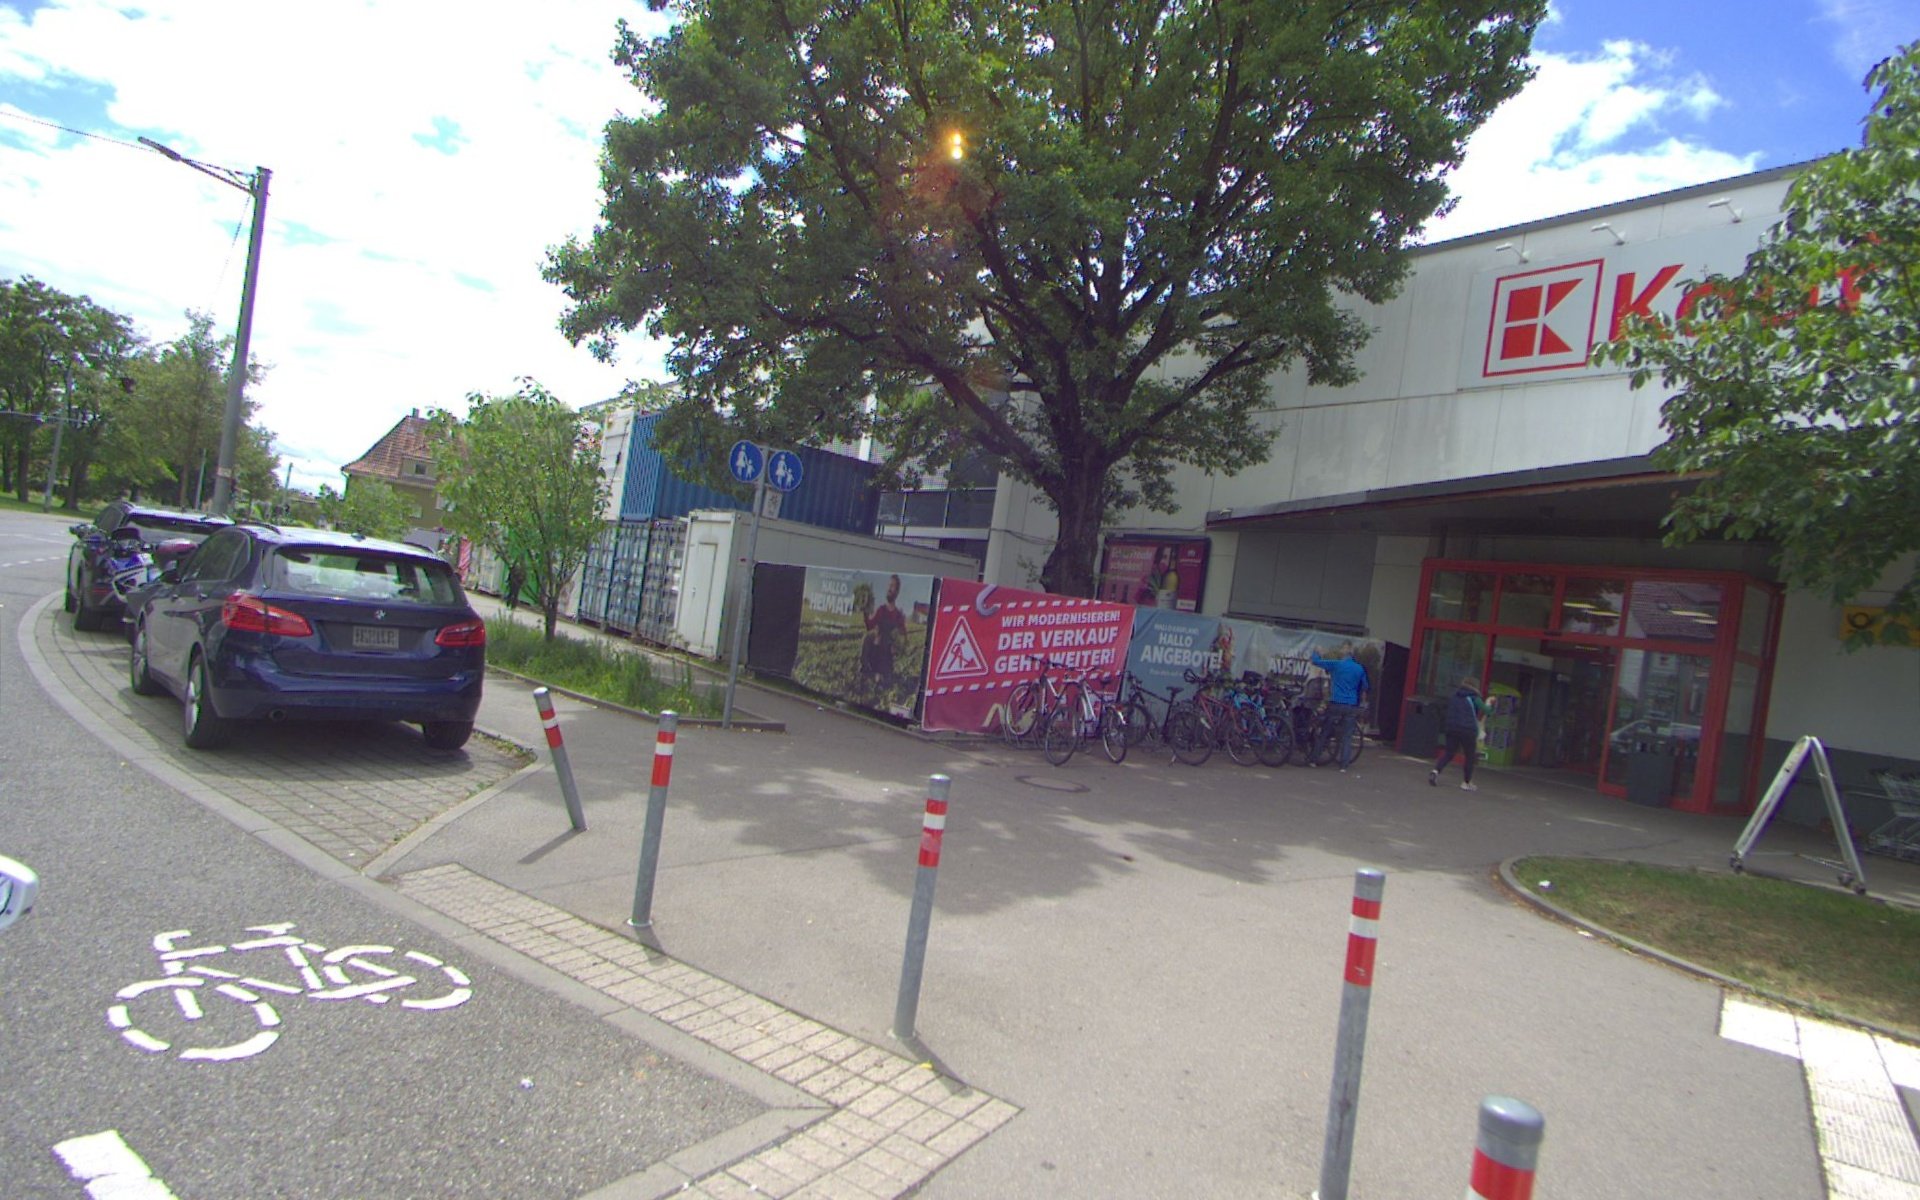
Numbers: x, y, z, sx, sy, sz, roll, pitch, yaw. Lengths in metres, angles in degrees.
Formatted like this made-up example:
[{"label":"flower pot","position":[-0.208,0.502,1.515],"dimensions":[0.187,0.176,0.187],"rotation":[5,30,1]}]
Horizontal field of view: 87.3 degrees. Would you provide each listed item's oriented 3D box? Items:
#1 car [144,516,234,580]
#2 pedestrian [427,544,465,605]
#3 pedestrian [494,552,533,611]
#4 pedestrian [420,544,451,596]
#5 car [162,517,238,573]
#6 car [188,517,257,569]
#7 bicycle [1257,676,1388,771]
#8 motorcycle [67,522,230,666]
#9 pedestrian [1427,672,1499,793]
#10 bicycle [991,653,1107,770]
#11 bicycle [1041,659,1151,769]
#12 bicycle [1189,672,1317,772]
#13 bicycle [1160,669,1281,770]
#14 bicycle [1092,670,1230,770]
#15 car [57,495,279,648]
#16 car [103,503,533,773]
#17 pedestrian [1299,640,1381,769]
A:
[{"label":"car","position":[-21.877,-1.502,28.690],"dimensions":[1.754,1.495,4.888],"rotation":[5,0,-36]},{"label":"pedestrian","position":[-15.451,-0.778,30.216],"dimensions":[0.649,1.716,0.716],"rotation":[8,-1,-43]},{"label":"pedestrian","position":[-13.392,-0.558,30.165],"dimensions":[0.739,1.637,0.760],"rotation":[8,-1,-37]},{"label":"pedestrian","position":[-18.324,-1.042,35.162],"dimensions":[0.648,1.717,0.836],"rotation":[8,-1,-37]},{"label":"car","position":[-24.691,-1.802,32.789],"dimensions":[1.558,1.511,3.965],"rotation":[7,-1,-33]},{"label":"car","position":[-27.492,-2.124,37.611],"dimensions":[1.725,1.636,4.348],"rotation":[6,0,-33]},{"label":"bicycle","position":[5.654,1.912,15.818],"dimensions":[0.525,1.168,1.898],"rotation":[9,-2,-31]},{"label":"motorcycle","position":[-8.886,-0.089,10.971],"dimensions":[2.231,1.322,1.068],"rotation":[7,1,44]},{"label":"pedestrian","position":[7.029,1.852,14.065],"dimensions":[0.621,1.585,0.491],"rotation":[8,-1,-34]},{"label":"bicycle","position":[1.051,1.317,12.311],"dimensions":[0.446,1.168,1.781],"rotation":[8,-2,-24]},{"label":"bicycle","position":[1.724,1.438,13.022],"dimensions":[0.494,1.168,1.765],"rotation":[8,-2,-20]},{"label":"bicycle","position":[4.214,1.740,14.606],"dimensions":[0.436,1.168,1.750],"rotation":[9,-2,-36]},{"label":"bicycle","position":[3.657,1.665,14.236],"dimensions":[0.422,1.168,1.646],"rotation":[9,-1,-34]},{"label":"bicycle","position":[2.680,1.598,13.583],"dimensions":[0.518,1.053,1.780],"rotation":[7,-1,-41]},{"label":"car","position":[-11.122,-0.473,13.971],"dimensions":[1.873,1.641,4.786],"rotation":[7,-1,-44]},{"label":"car","position":[-5.488,0.178,8.326],"dimensions":[4.371,1.597,1.913],"rotation":[6,-1,44]},{"label":"pedestrian","position":[5.537,1.516,14.679],"dimensions":[0.618,1.779,0.742],"rotation":[5,1,-31]}]
